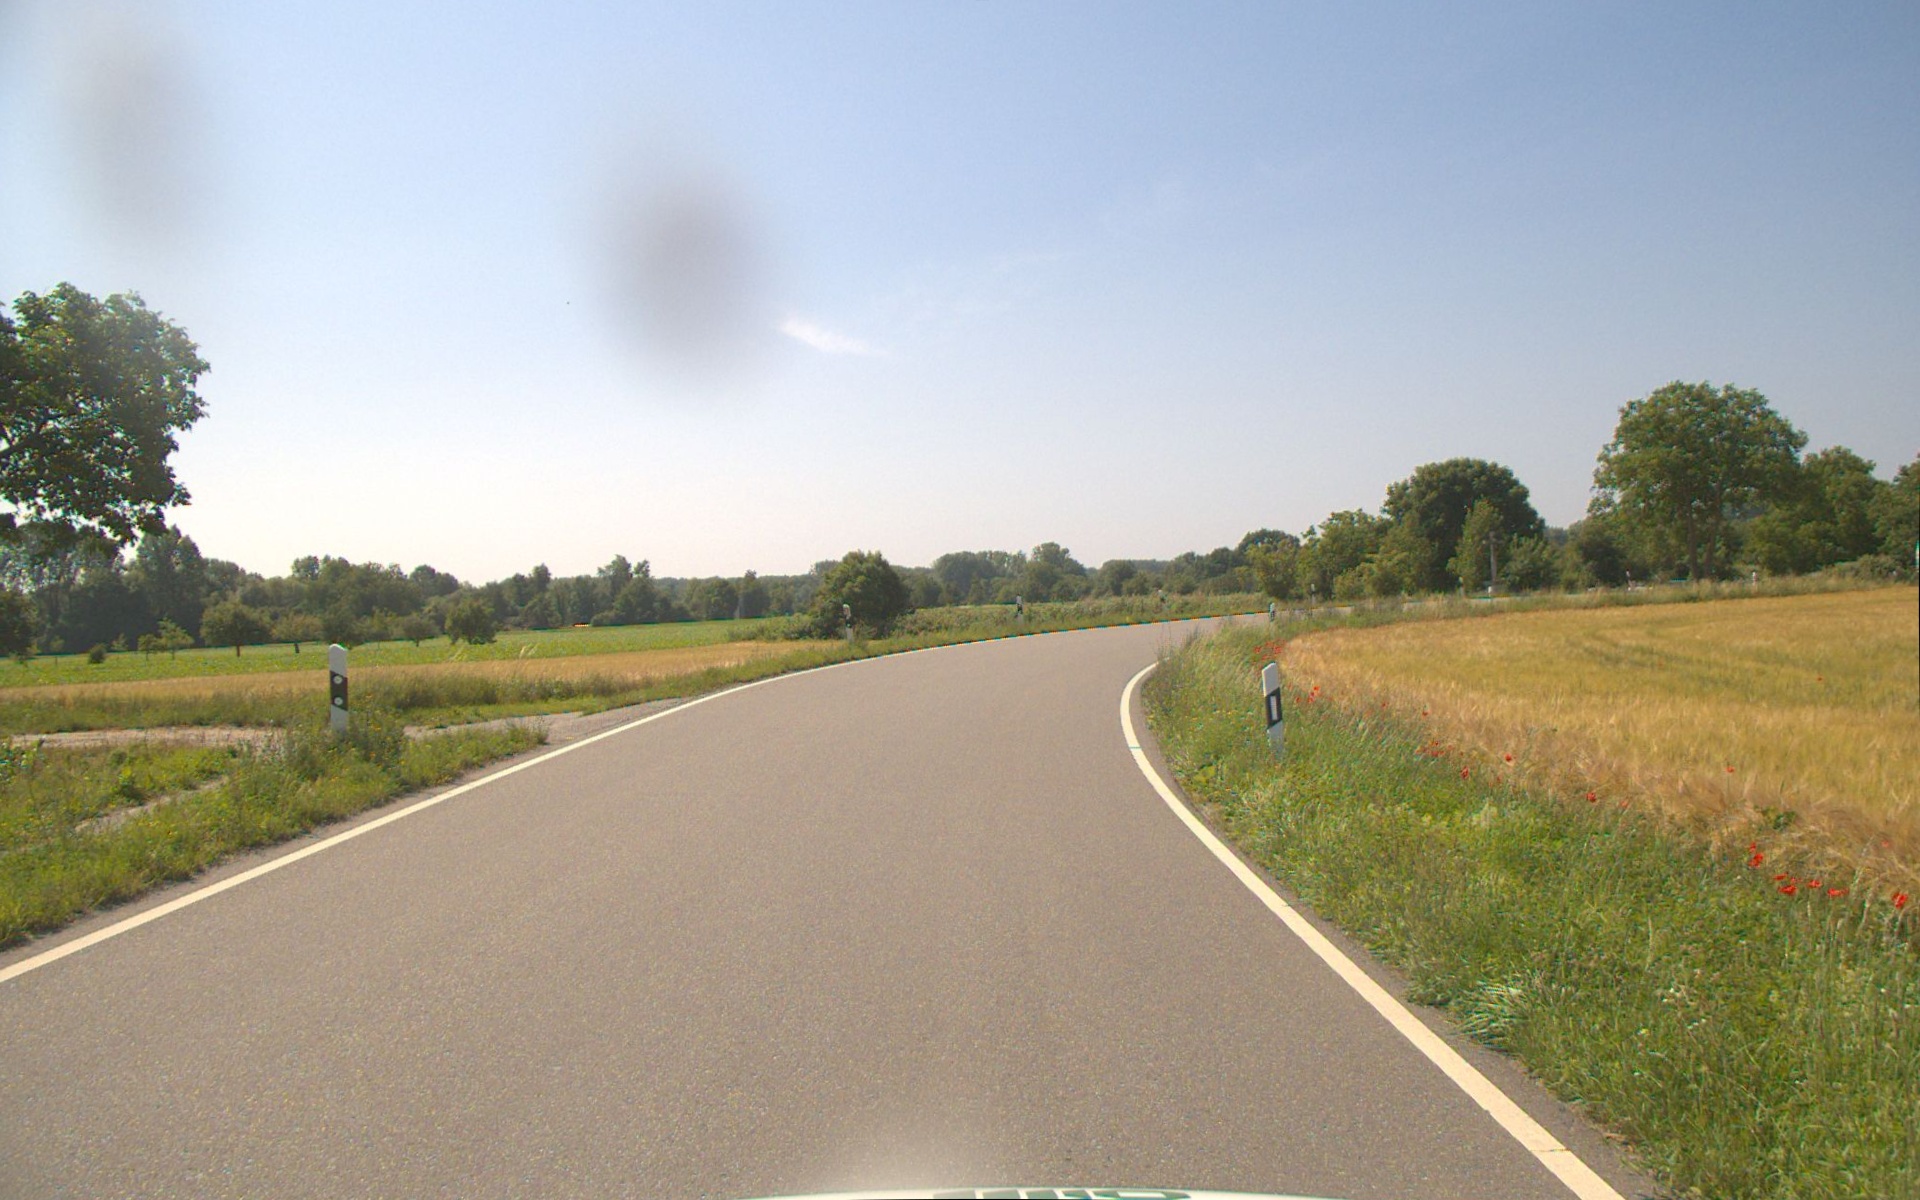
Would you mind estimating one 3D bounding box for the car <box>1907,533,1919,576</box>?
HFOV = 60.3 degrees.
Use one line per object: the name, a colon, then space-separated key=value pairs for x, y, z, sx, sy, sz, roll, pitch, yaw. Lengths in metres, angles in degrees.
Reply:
car: x=56.922 y=-2.731 z=94.500 sx=5.603 sy=2.408 sz=2.092 roll=-3 pitch=0 yaw=-28
